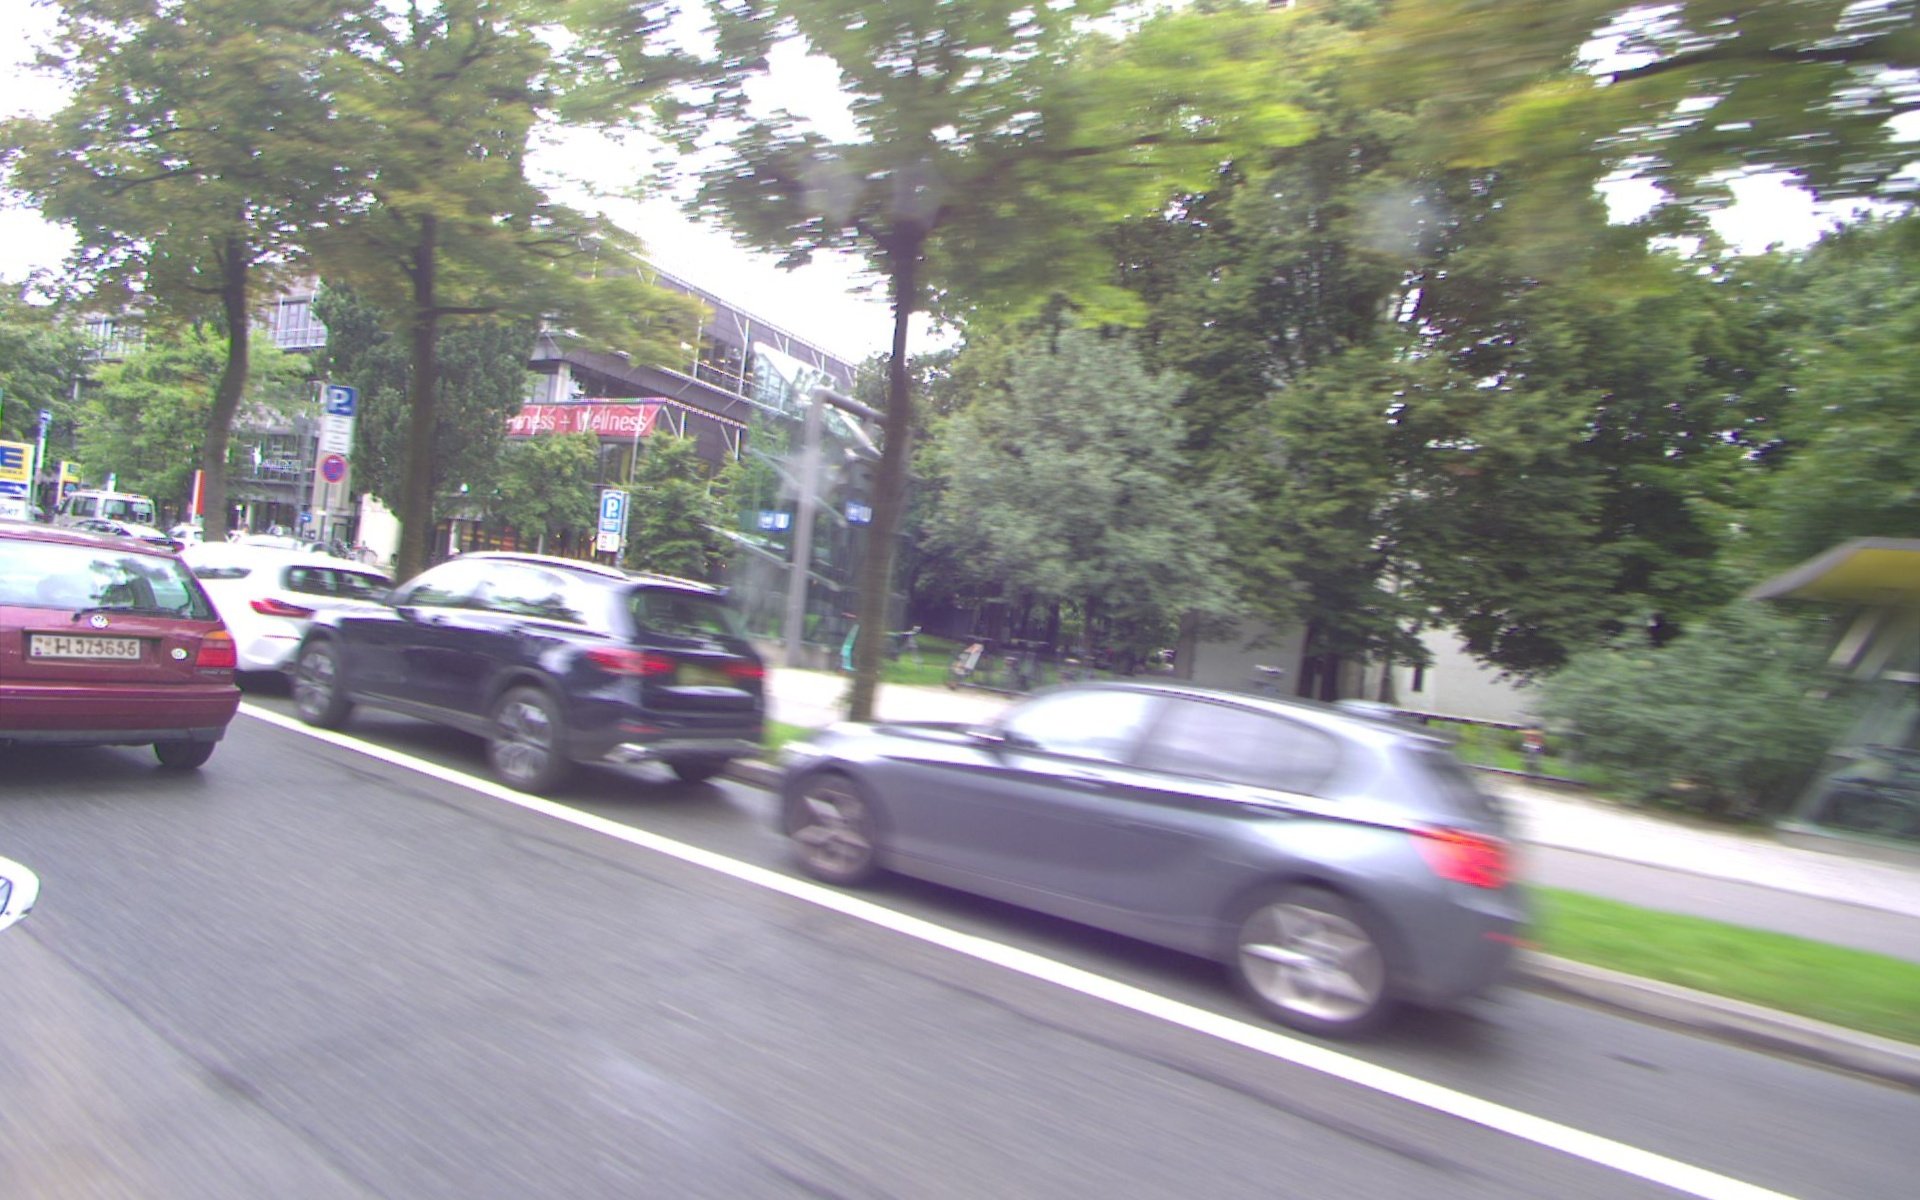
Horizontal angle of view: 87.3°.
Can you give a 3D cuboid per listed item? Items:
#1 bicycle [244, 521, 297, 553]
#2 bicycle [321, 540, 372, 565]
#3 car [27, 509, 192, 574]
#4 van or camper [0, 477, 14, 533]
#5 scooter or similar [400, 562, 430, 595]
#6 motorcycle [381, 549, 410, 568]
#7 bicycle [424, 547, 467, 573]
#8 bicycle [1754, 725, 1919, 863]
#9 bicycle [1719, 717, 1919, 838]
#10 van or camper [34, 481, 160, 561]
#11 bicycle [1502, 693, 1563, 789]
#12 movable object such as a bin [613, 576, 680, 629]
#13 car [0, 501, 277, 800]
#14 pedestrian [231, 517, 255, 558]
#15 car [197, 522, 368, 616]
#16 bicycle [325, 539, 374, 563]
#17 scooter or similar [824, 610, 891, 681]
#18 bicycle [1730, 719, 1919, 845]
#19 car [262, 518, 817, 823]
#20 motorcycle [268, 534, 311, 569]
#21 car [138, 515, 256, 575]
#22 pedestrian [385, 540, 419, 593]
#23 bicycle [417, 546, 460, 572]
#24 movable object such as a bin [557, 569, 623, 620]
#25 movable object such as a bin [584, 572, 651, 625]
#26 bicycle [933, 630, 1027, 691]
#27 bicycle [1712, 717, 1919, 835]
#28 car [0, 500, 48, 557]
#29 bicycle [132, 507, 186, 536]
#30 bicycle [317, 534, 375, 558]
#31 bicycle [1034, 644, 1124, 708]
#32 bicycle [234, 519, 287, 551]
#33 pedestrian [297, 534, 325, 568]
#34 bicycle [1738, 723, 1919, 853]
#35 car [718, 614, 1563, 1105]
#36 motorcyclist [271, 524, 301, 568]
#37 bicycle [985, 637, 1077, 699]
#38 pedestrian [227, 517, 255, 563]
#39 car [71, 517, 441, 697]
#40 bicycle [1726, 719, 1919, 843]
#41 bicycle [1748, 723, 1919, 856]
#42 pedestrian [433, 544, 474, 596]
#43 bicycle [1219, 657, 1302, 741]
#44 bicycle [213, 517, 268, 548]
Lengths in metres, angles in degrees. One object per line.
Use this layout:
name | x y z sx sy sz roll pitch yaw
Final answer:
bicycle | -39.913 -3.627 58.253 0.783 1.526 2.620 7 -1 10
bicycle | -31.416 -2.430 51.521 2.016 0.969 0.744 7 0 -15
car | -27.762 -1.903 32.853 4.747 1.471 1.691 7 -1 16
van or camper | -48.202 -4.840 48.643 5.858 2.589 2.026 7 0 32
scooter or similar | -18.846 -0.741 34.806 0.819 1.032 0.500 7 2 32
motorcycle | -31.543 -2.316 56.199 1.545 0.876 0.851 6 -1 39
bicycle | -29.441 -2.265 57.568 0.577 1.219 2.141 7 -1 29
bicycle | 10.756 2.276 11.453 2.508 1.296 0.646 7 0 32
bicycle | 12.494 2.519 14.346 2.508 1.296 0.605 7 0 32
van or camper | -34.455 -3.165 40.122 5.858 2.589 1.996 7 0 32
bicycle | 8.945 2.139 15.669 0.636 1.296 2.546 7 -1 31
movable object such as a bin | -9.637 0.090 30.952 1.292 1.426 1.338 7 0 30
car | -6.205 0.103 6.298 3.884 1.471 1.625 7 -1 31
pedestrian | -33.118 -2.878 46.467 0.720 1.772 0.575 7 0 36
car | -15.155 -0.660 22.835 1.946 1.644 4.825 8 -2 -20
bicycle | -32.629 -2.619 53.800 2.020 0.969 0.743 7 0 -22
scooter or similar | -2.038 0.897 19.970 1.217 1.247 0.420 7 0 34
bicycle | 11.817 2.410 13.223 2.508 1.296 0.646 7 0 32
car | -3.592 0.425 8.327 4.519 1.695 1.789 7 -1 31
motorcycle | -28.369 -2.035 42.543 2.032 1.309 0.695 7 4 32
car | -27.449 -1.977 36.175 3.934 1.671 1.996 7 0 32
pedestrian | -19.551 -1.188 35.260 0.971 1.744 0.539 7 2 32
bicycle | -29.984 -2.330 57.853 0.577 1.219 2.141 7 -1 29
movable object such as a bin | -11.892 -0.172 32.324 1.292 1.426 1.338 7 0 30
movable object such as a bin | -10.761 -0.041 31.641 1.292 1.426 1.338 7 0 30
bicycle | 0.455 1.263 20.670 0.636 1.102 2.546 7 -1 31
bicycle | 12.799 2.575 14.891 2.508 1.296 0.605 7 0 32
car | -29.524 -2.321 30.299 3.931 1.505 1.768 7 -2 29
bicycle | -53.634 -5.238 67.410 0.784 1.526 2.617 7 -1 25
bicycle | -32.111 -2.833 52.656 2.366 0.880 0.769 7 0 -15
bicycle | 2.343 1.485 19.463 0.636 1.102 2.546 7 -1 31
bicycle | -40.749 -3.771 58.652 0.783 1.526 2.620 7 -1 10
pedestrian | -27.055 -2.051 41.910 0.687 1.308 0.731 6 2 36
bicycle | 11.478 2.393 12.643 2.508 1.296 0.646 7 0 32
car | 0.840 1.083 5.669 4.232 1.456 1.636 7 -1 31
motorcyclist | -28.612 -2.300 42.680 0.937 1.761 0.690 7 4 32
bicycle | 1.453 1.381 20.015 0.636 1.102 2.546 7 -1 31
pedestrian | -29.528 -2.457 41.307 0.720 1.772 0.575 7 0 36
car | -7.965 0.043 11.267 4.408 1.451 1.656 7 -1 31
bicycle | 12.176 2.483 13.783 2.508 1.296 0.646 7 0 32
bicycle | 11.150 2.324 12.053 2.508 1.296 0.646 7 0 32
pedestrian | -18.035 -1.066 35.792 0.924 1.744 0.828 7 2 32
bicycle | 5.258 1.712 17.483 0.636 1.296 2.546 7 -1 31
bicycle | -43.192 -4.044 60.427 0.783 1.526 2.619 7 -1 18
